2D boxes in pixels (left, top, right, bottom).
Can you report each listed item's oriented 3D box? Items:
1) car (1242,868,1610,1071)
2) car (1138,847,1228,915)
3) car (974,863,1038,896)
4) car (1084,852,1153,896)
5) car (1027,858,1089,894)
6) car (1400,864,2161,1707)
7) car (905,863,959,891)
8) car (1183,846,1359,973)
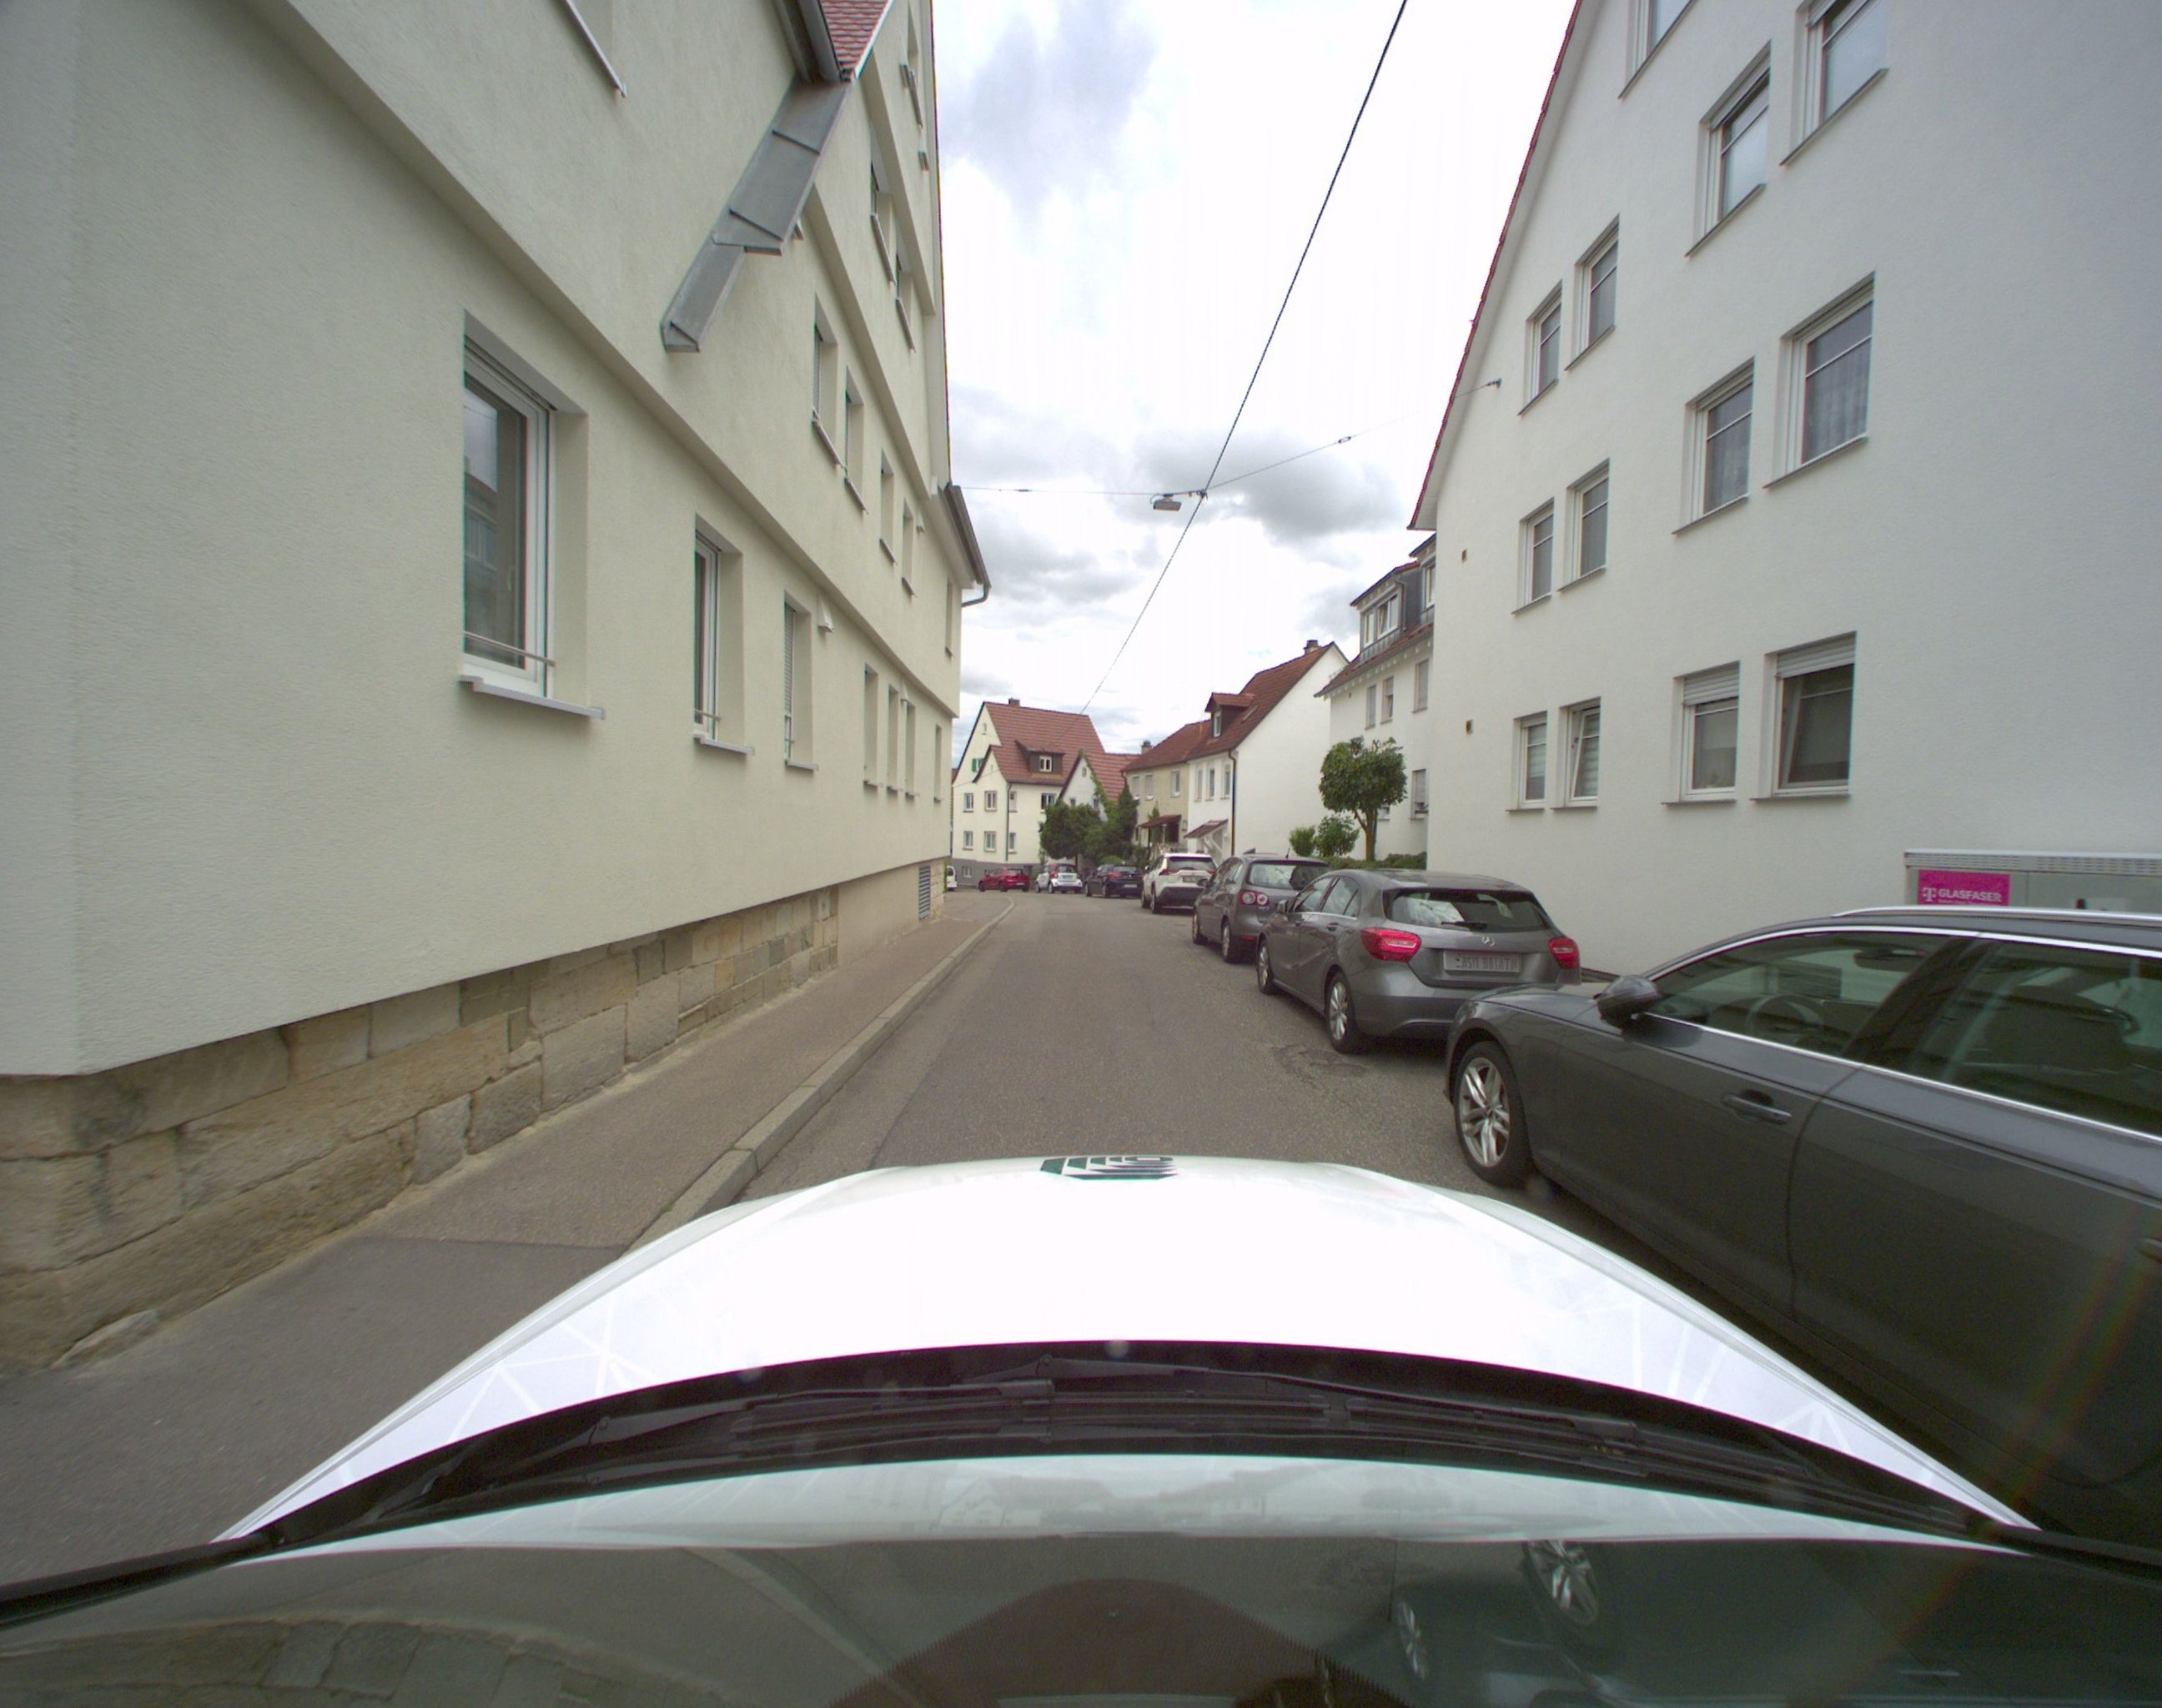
[{"bbox_3d":[2.806,0.838,7.693,1.791,1.352,4.075,1,-1,1],"label":"car"},{"bbox_3d":[2.756,0.701,22.865,1.868,1.713,4.144,1,-1,-2],"label":"car"},{"bbox_3d":[-4.487,1.555,48.089,2.009,1.683,3.957,-6,0,-34],"label":"car"},{"bbox_3d":[1.476,0.826,33.706,1.994,1.713,3.984,0,-2,-11],"label":"car"},{"bbox_3d":[-1.255,1.118,42.646,1.971,1.713,3.970,1,1,-23],"label":"car"},{"bbox_3d":[2.785,0.782,2.351,1.912,1.410,4.655,-1,0,0],"label":"car"},{"bbox_3d":[-10.284,1.553,56.153,2.076,1.644,3.955,-2,3,-38],"label":"car"},{"bbox_3d":[2.802,0.757,12.913,1.731,1.610,3.998,3,0,-1],"label":"car"}]
